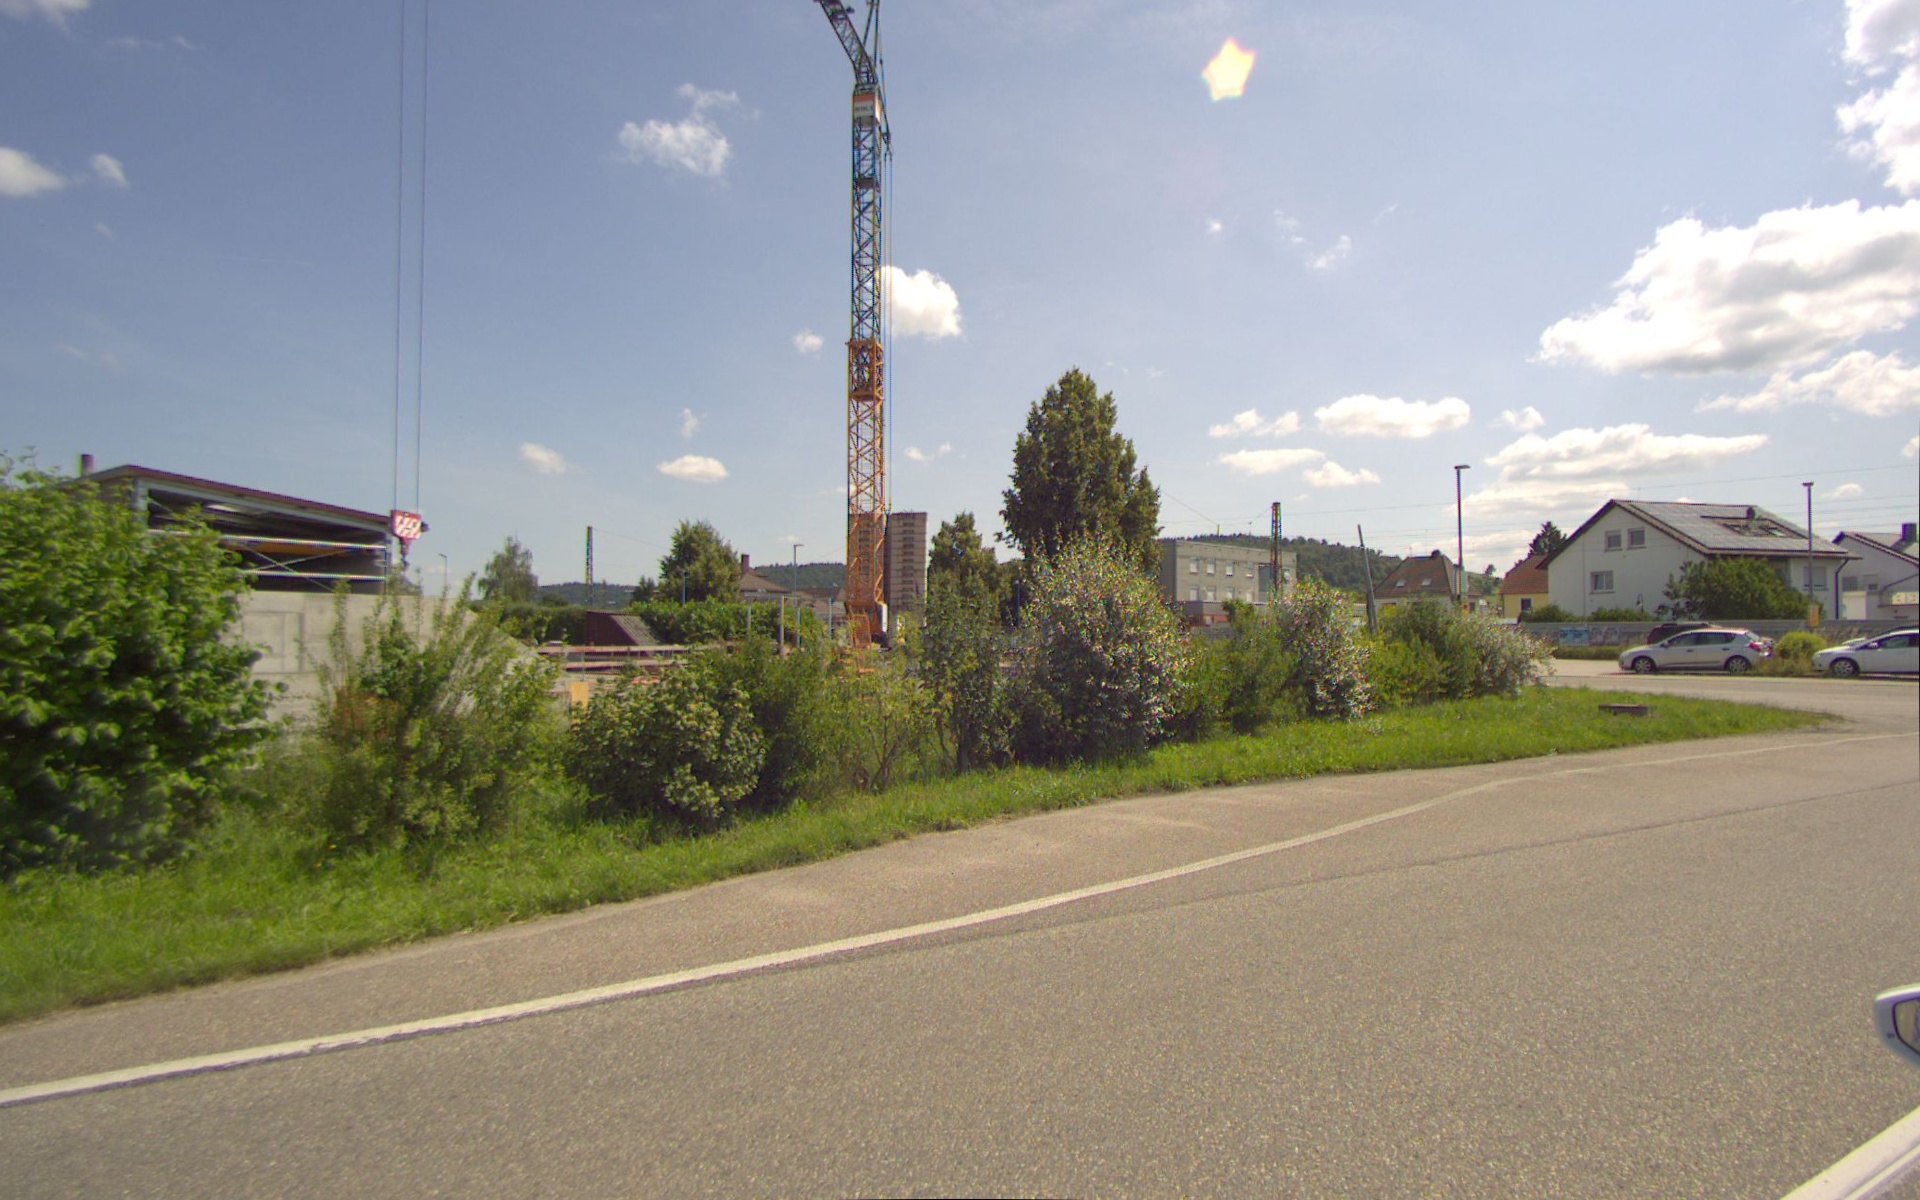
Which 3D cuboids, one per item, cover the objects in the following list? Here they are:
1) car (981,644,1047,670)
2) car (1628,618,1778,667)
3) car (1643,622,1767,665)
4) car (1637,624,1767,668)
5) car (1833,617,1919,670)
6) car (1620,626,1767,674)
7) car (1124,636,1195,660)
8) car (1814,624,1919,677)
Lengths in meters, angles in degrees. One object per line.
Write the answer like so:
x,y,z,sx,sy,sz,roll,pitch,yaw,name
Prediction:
3.286,3.458,61.744,1.877,1.522,3.951,1,-2,-42,car
26.890,1.580,36.417,4.118,1.660,1.943,-4,-4,44,car
29.719,1.722,40.158,1.487,1.610,3.794,1,-2,-44,car
28.450,1.748,38.572,1.682,1.579,3.748,1,-2,-42,car
32.458,1.444,33.747,1.982,1.713,4.419,0,-1,-37,car
25.379,1.701,34.826,3.958,1.582,1.812,-1,-2,43,car
11.539,2.770,58.298,1.522,1.331,3.954,1,-2,-40,car
28.974,1.548,30.628,1.813,1.496,4.246,2,-1,-41,car
